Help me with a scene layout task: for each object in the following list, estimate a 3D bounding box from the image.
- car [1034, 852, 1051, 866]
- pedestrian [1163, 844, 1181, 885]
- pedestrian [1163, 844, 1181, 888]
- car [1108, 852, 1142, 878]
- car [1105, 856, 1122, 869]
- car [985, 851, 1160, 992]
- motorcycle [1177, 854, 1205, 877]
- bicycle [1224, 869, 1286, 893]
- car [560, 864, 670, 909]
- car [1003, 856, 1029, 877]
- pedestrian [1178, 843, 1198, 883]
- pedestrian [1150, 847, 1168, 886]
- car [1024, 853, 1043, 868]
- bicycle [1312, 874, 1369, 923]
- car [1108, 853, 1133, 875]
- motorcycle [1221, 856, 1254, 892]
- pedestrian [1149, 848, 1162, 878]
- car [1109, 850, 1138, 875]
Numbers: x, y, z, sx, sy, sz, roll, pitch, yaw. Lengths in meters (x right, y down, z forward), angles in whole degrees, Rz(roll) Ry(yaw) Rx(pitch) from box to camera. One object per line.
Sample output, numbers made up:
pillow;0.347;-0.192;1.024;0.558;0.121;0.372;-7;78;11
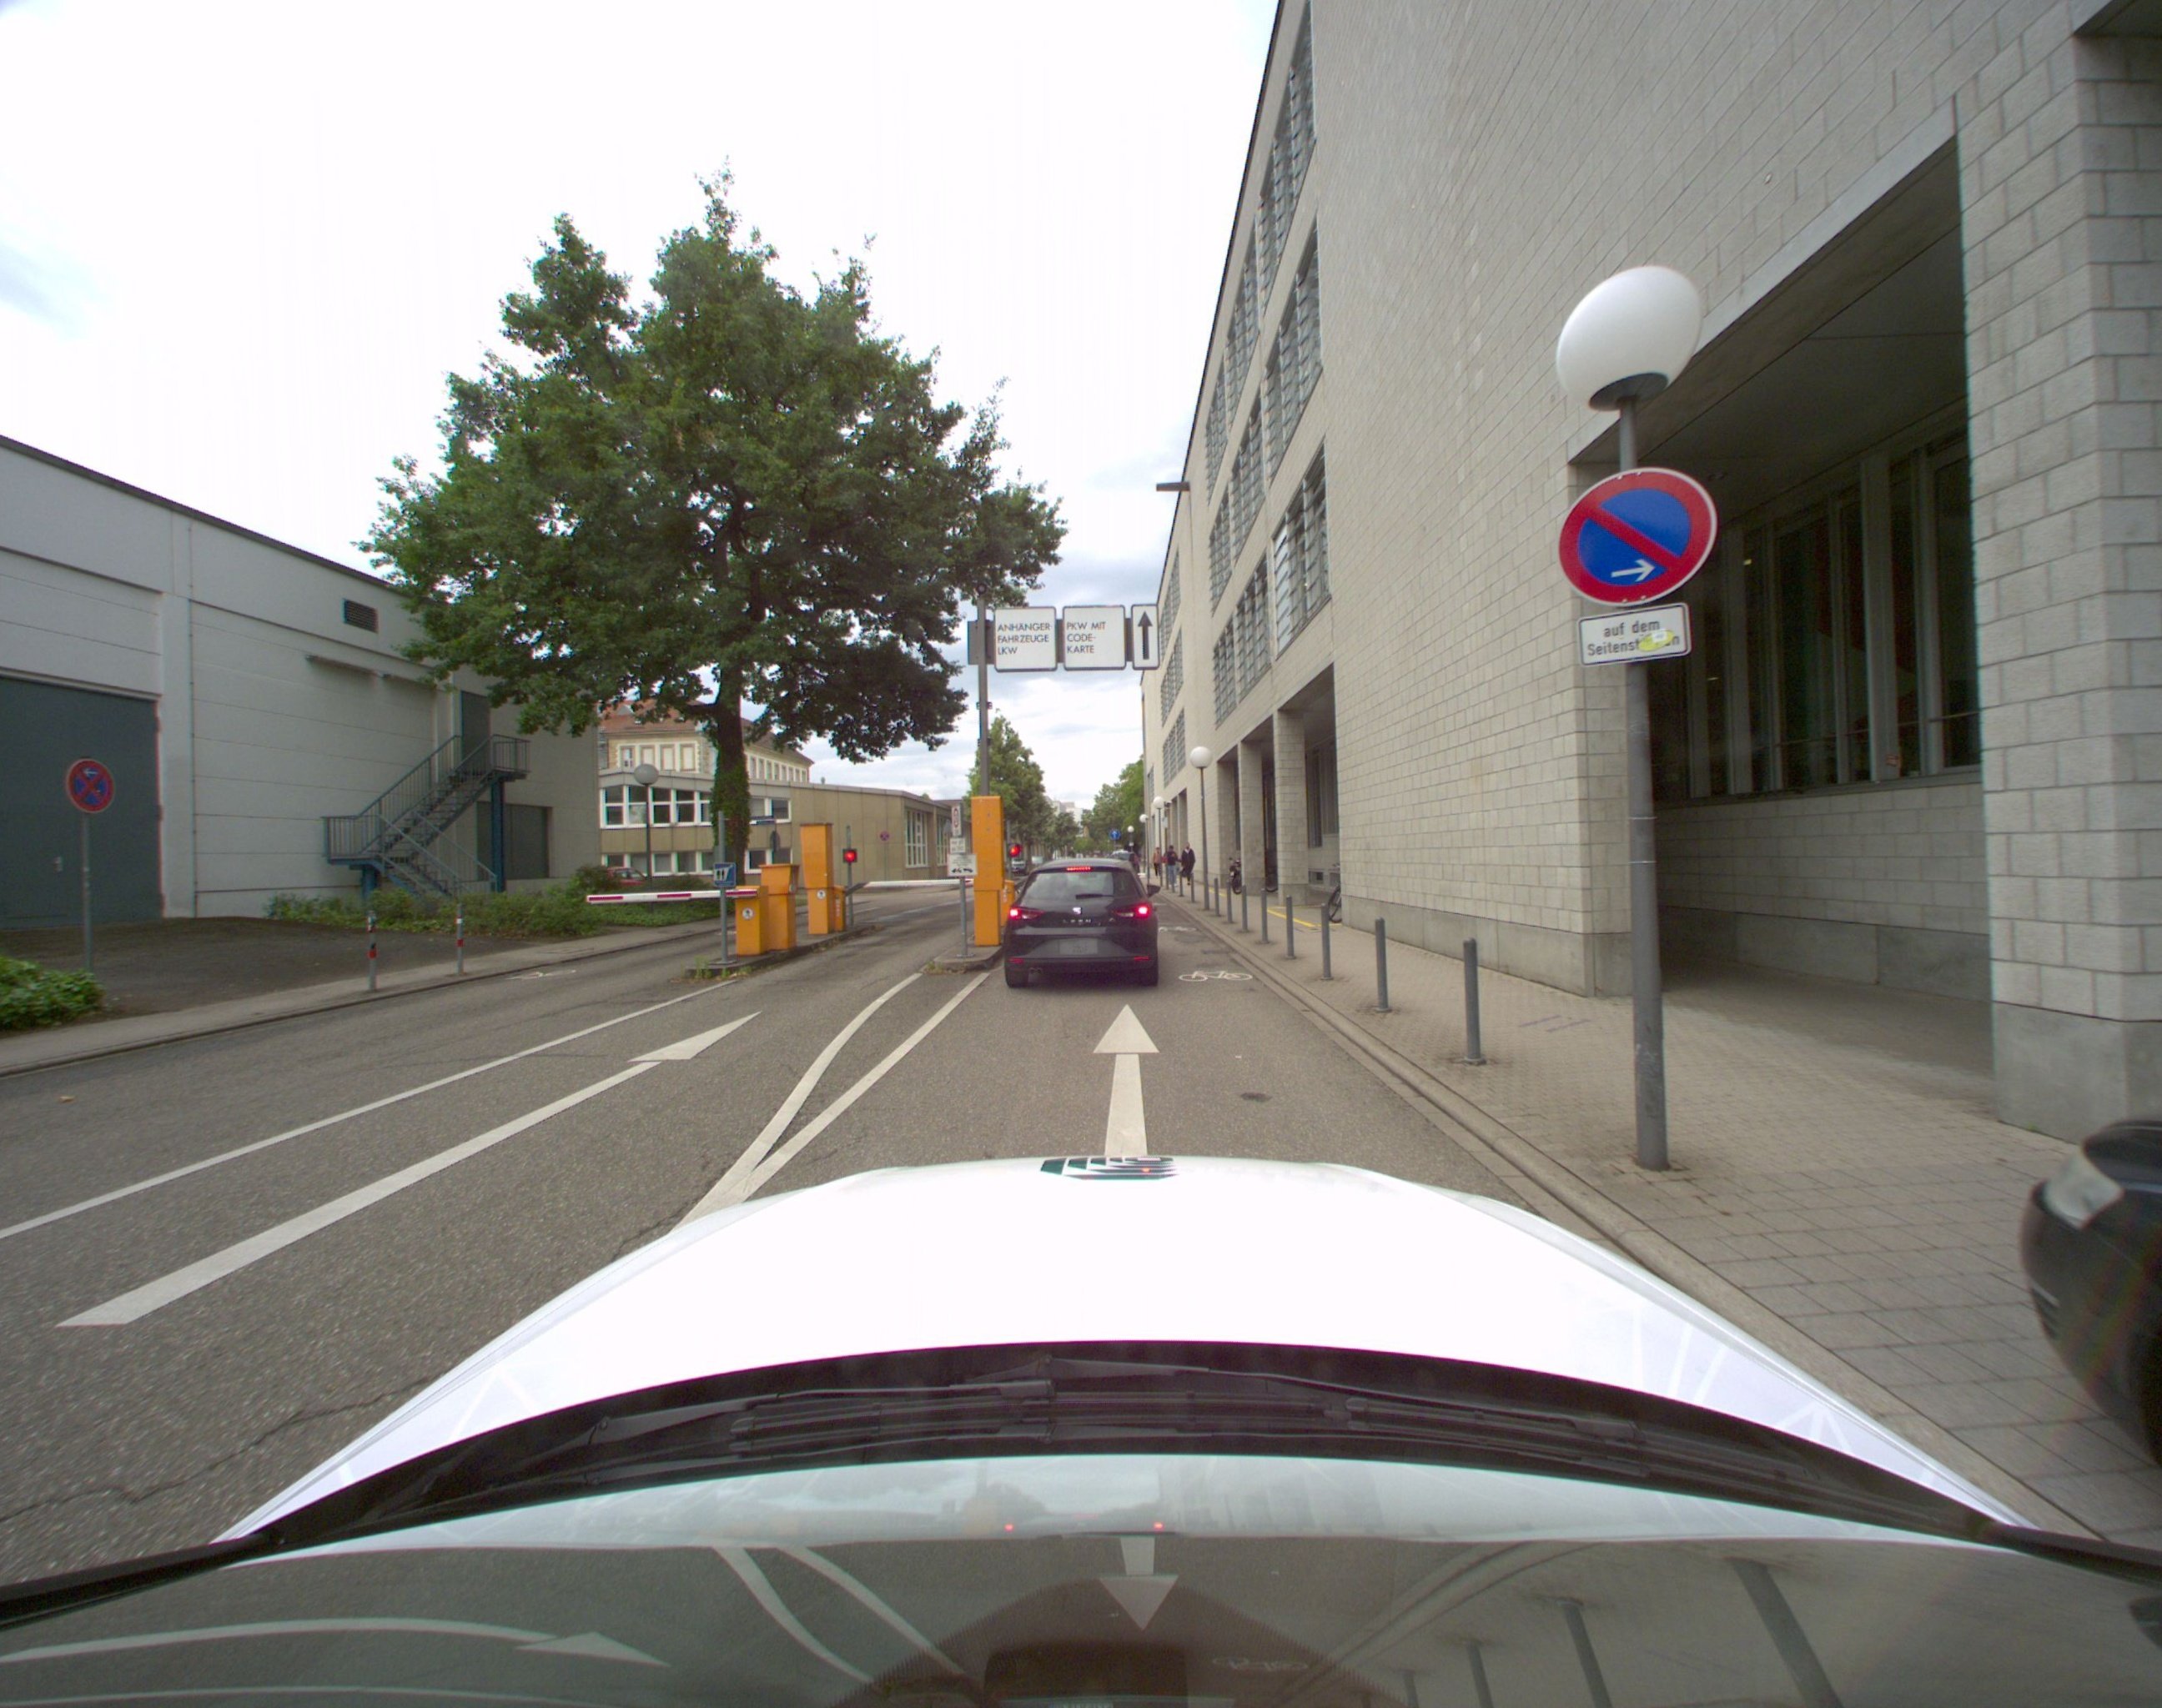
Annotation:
car;-4.484;0.577;95.132;1.764;1.601;3.999;-1;0;0
pedestrian;3.872;0.429;34.679;0.687;1.698;0.588;-1;2;0
pedestrian;3.652;0.481;32.704;0.609;1.714;0.575;-3;0;3
car;2.912;0.736;54.680;1.987;1.622;4.428;-3;-1;1
car;4.023;1.010;102.020;1.986;1.463;4.429;-3;0;1
car;-0.047;0.692;10.507;1.776;1.419;4.130;-1;0;1
motorcycle;6.190;0.630;45.746;0.752;1.148;2.679;0;2;26
bicycle;5.551;0.865;25.981;1.892;0.698;0.492;-1;2;-3
car;-17.932;1.188;31.556;1.856;1.530;4.001;-1;0;1
car;-5.303;0.970;66.838;1.764;1.601;4.000;-1;0;1
pedestrian;4.690;0.399;35.753;0.726;1.698;0.587;-1;2;-4
pedestrian;3.452;0.537;35.965;0.694;1.714;0.489;-1;0;-2
car;-5.192;0.708;89.638;1.764;1.601;4.001;-1;0;1
bicycle;5.091;0.839;15.876;0.458;0.751;2.310;-6;-1;31
car;3.397;0.870;71.299;1.986;1.782;4.429;-3;0;1
motorcycle;5.613;0.679;29.128;0.560;1.148;2.230;0;2;26
pedestrian;4.243;0.512;46.304;0.693;1.714;0.490;-1;0;5
car;3.045;0.587;59.210;1.986;1.622;4.430;-3;0;2
